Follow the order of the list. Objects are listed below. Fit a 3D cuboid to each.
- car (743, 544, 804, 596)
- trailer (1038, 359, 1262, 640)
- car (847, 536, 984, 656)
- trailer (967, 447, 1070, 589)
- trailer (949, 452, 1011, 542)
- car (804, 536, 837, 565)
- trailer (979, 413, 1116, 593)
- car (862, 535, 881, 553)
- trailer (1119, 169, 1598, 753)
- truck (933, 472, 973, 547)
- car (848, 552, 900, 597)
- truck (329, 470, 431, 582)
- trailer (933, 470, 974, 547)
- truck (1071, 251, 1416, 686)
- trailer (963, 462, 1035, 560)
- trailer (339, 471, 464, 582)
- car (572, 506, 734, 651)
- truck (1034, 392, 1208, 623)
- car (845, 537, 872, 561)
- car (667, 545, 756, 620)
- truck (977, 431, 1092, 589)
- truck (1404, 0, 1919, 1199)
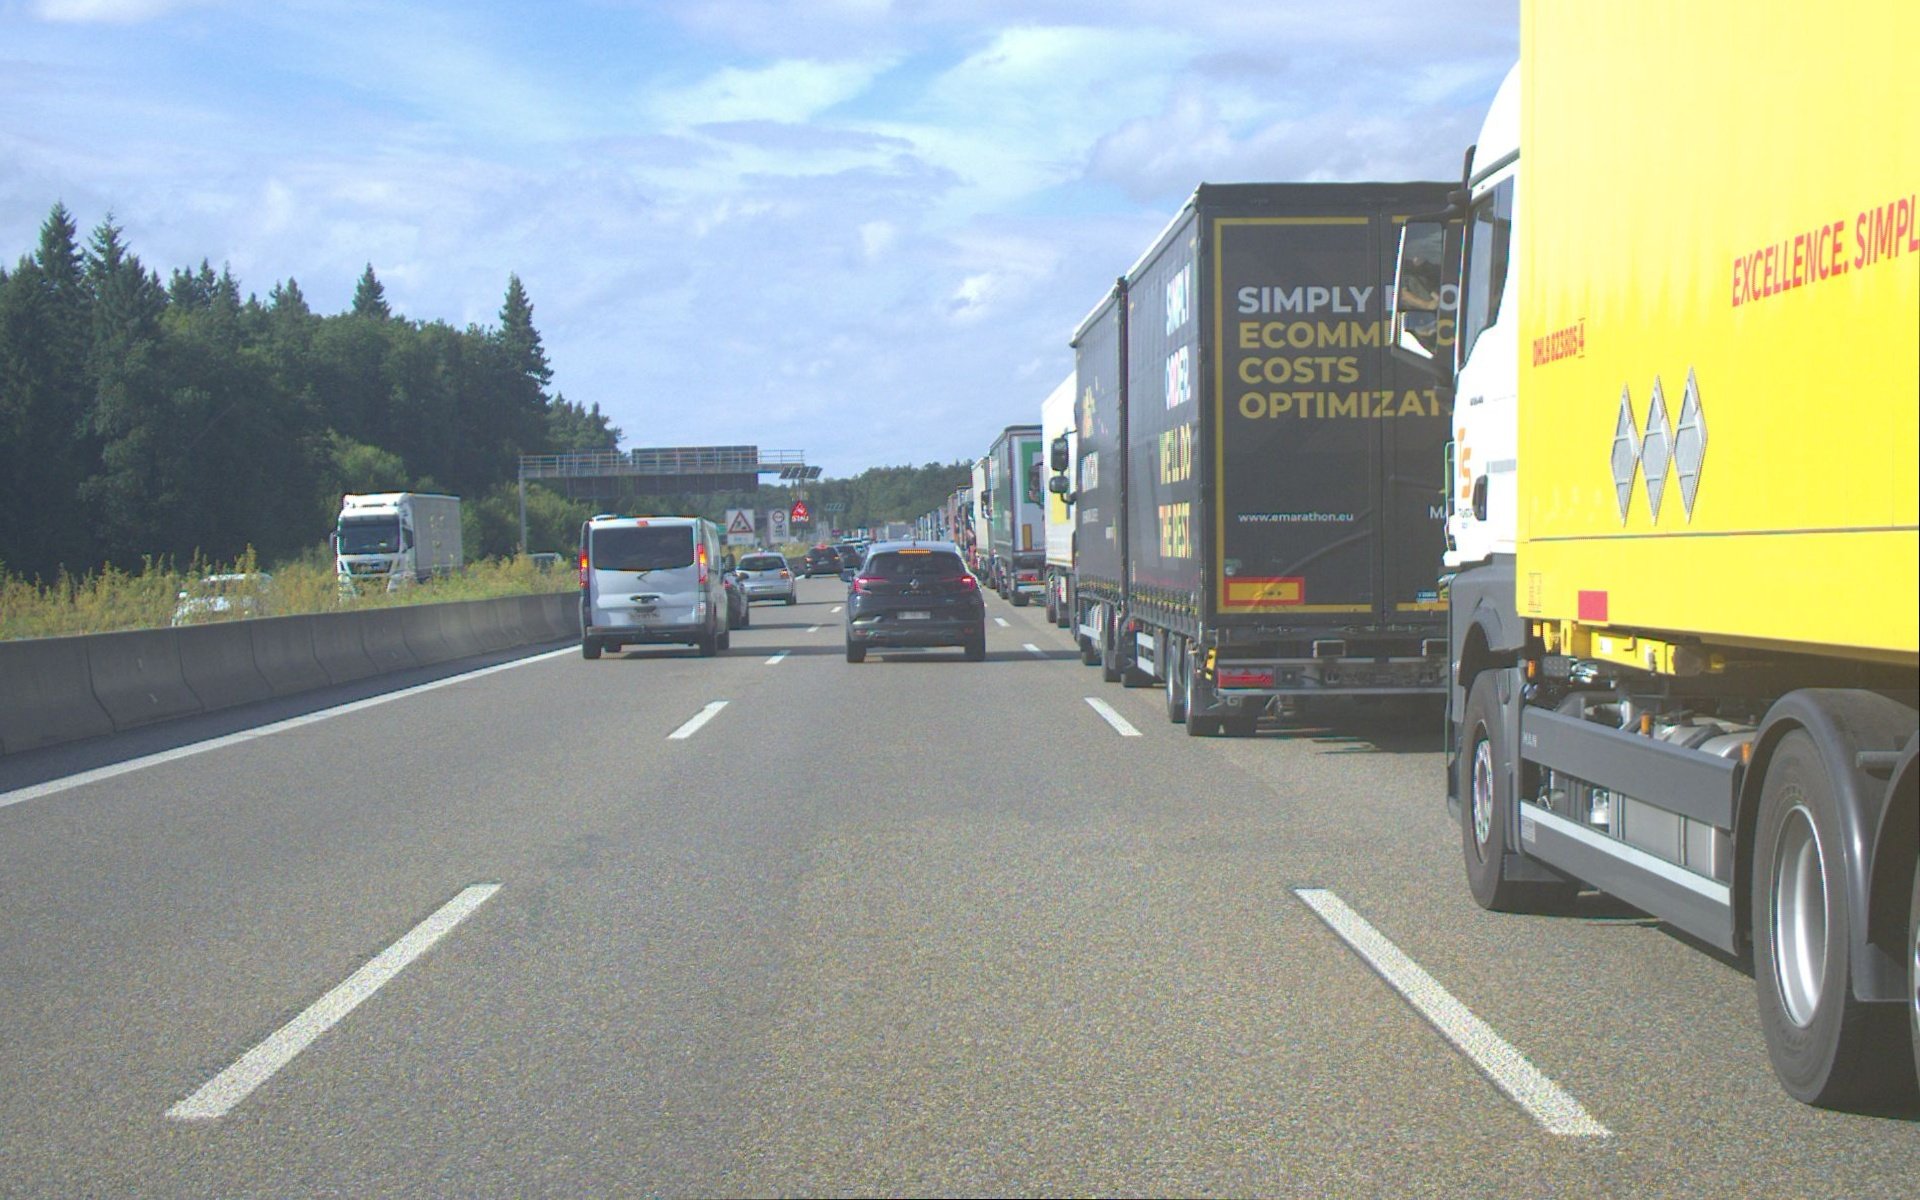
[{"bbox_3d":[-5.068,-0.826,93.786,1.500,1.391,3.476,1,1,-1],"label":"car"},{"bbox_3d":[2.833,-1.510,55.117,2.792,3.925,13.070,-1,1,0],"label":"trailer"},{"bbox_3d":[-0.591,-0.079,45.199,1.696,1.478,4.160,1,1,-1],"label":"car"},{"bbox_3d":[1.741,-2.558,108.155,2.703,4.068,12.945,-3,1,-1],"label":"trailer"},{"bbox_3d":[0.994,-5.087,171.950,2.802,4.229,11.057,-3,1,0],"label":"trailer"},{"bbox_3d":[-6.473,-2.309,160.030,1.434,1.305,3.534,1,1,-1],"label":"car"},{"bbox_3d":[1.953,-2.219,81.984,2.661,3.855,13.395,-2,1,-1],"label":"trailer"},{"bbox_3d":[-6.489,-4.117,251.342,1.361,1.296,3.085,1,1,-1],"label":"car"},{"bbox_3d":[2.922,-1.060,27.837,2.716,3.947,8.712,1,1,-1],"label":"trailer"},{"bbox_3d":[-0.416,-5.253,201.580,2.134,4.267,6.339,-2,1,0],"label":"truck"},{"bbox_3d":[-2.743,-0.820,109.289,1.581,1.391,3.208,1,1,-2],"label":"car"},{"bbox_3d":[-21.207,-2.694,126.001,2.819,3.962,5.834,-1,1,-1],"label":"truck"},{"bbox_3d":[-0.392,-5.216,197.443,2.150,4.244,8.440,-2,1,0],"label":"trailer"},{"bbox_3d":[2.817,-1.303,37.252,2.740,4.024,10.203,1,1,-1],"label":"truck"},{"bbox_3d":[1.502,-3.454,136.457,2.541,3.641,10.627,-2,1,0],"label":"trailer"},{"bbox_3d":[-21.357,-2.789,132.208,2.832,3.979,13.550,-1,1,-1],"label":"trailer"},{"bbox_3d":[-4.400,-0.338,49.948,1.933,1.972,5.099,1,1,-1],"label":"car"},{"bbox_3d":[2.835,-1.628,62.124,2.802,3.925,5.826,-1,1,0],"label":"truck"},{"bbox_3d":[-5.586,-2.821,189.045,1.434,1.305,3.534,1,1,-1],"label":"car"},{"bbox_3d":[-4.797,-0.350,66.589,1.500,1.391,3.476,1,1,-1],"label":"car"},{"bbox_3d":[1.878,-2.301,89.258,2.647,3.855,6.996,-2,1,-1],"label":"truck"},{"bbox_3d":[3.277,-0.765,10.355,2.412,4.054,9.665,1,1,-1],"label":"truck"}]
